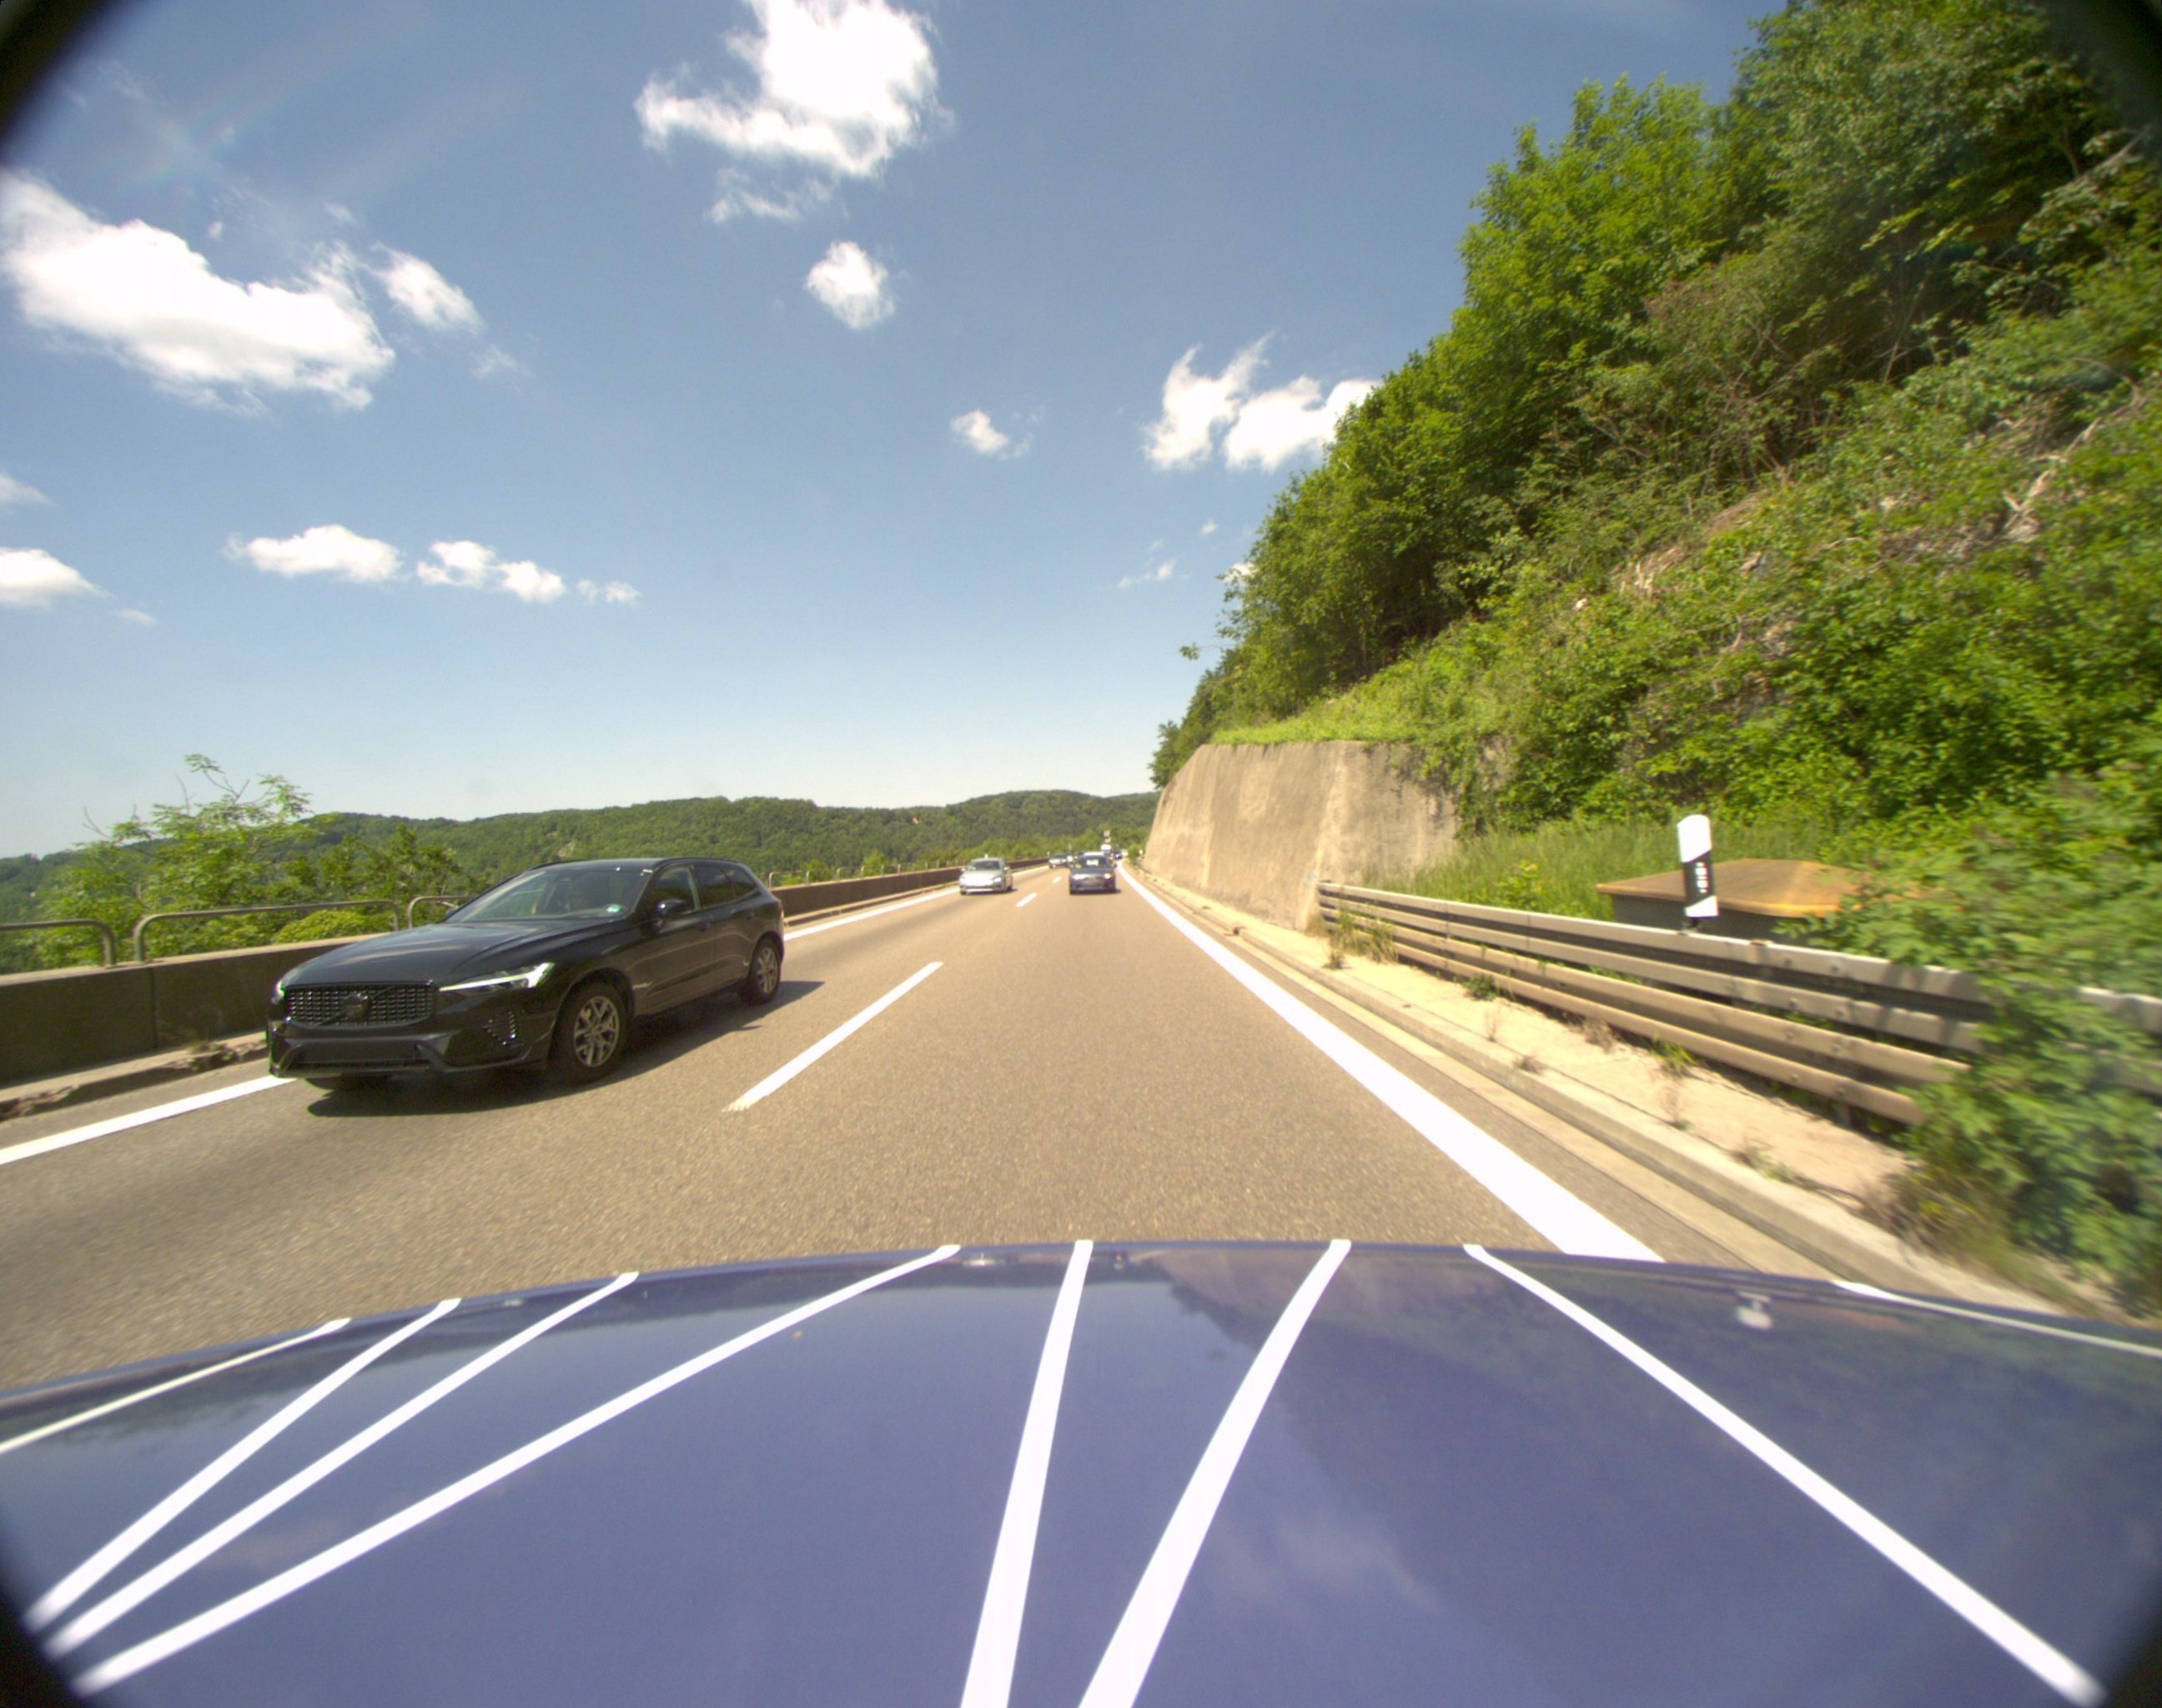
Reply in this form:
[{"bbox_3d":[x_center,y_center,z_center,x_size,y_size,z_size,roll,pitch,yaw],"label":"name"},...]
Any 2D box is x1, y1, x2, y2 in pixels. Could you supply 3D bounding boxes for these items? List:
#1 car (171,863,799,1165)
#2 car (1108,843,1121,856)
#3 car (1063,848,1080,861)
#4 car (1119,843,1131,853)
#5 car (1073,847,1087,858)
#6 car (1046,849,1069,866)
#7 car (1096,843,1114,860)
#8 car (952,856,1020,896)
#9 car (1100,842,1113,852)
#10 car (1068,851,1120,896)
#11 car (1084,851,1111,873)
[{"bbox_3d":[-4.365,0.977,6.797,1.839,1.624,4.661,-1,1,1],"label":"car"},{"bbox_3d":[5.510,-0.718,123.414,1.998,2.002,4.001,-2,1,4],"label":"car"},{"bbox_3d":[-1.208,0.080,97.609,1.775,1.565,4.001,-2,1,4],"label":"car"},{"bbox_3d":[9.160,-1.187,158.104,1.997,2.002,4.002,-2,1,7],"label":"car"},{"bbox_3d":[-0.130,-0.287,115.148,1.775,1.565,4.001,-2,1,4],"label":"car"},{"bbox_3d":[-2.344,0.302,76.971,1.875,1.565,4.001,-2,1,4],"label":"car"},{"bbox_3d":[2.911,-0.277,91.878,1.998,2.002,4.000,-1,1,2],"label":"car"},{"bbox_3d":[-3.861,0.848,31.600,1.972,1.370,4.294,-2,1,3],"label":"car"},{"bbox_3d":[5.519,-1.557,165.099,1.996,2.002,4.004,-1,0,13],"label":"car"},{"bbox_3d":[0.557,0.674,28.534,1.668,1.415,4.044,-2,1,4],"label":"car"},{"bbox_3d":[1.157,0.516,52.132,1.703,1.432,4.044,0,1,2],"label":"car"}]
